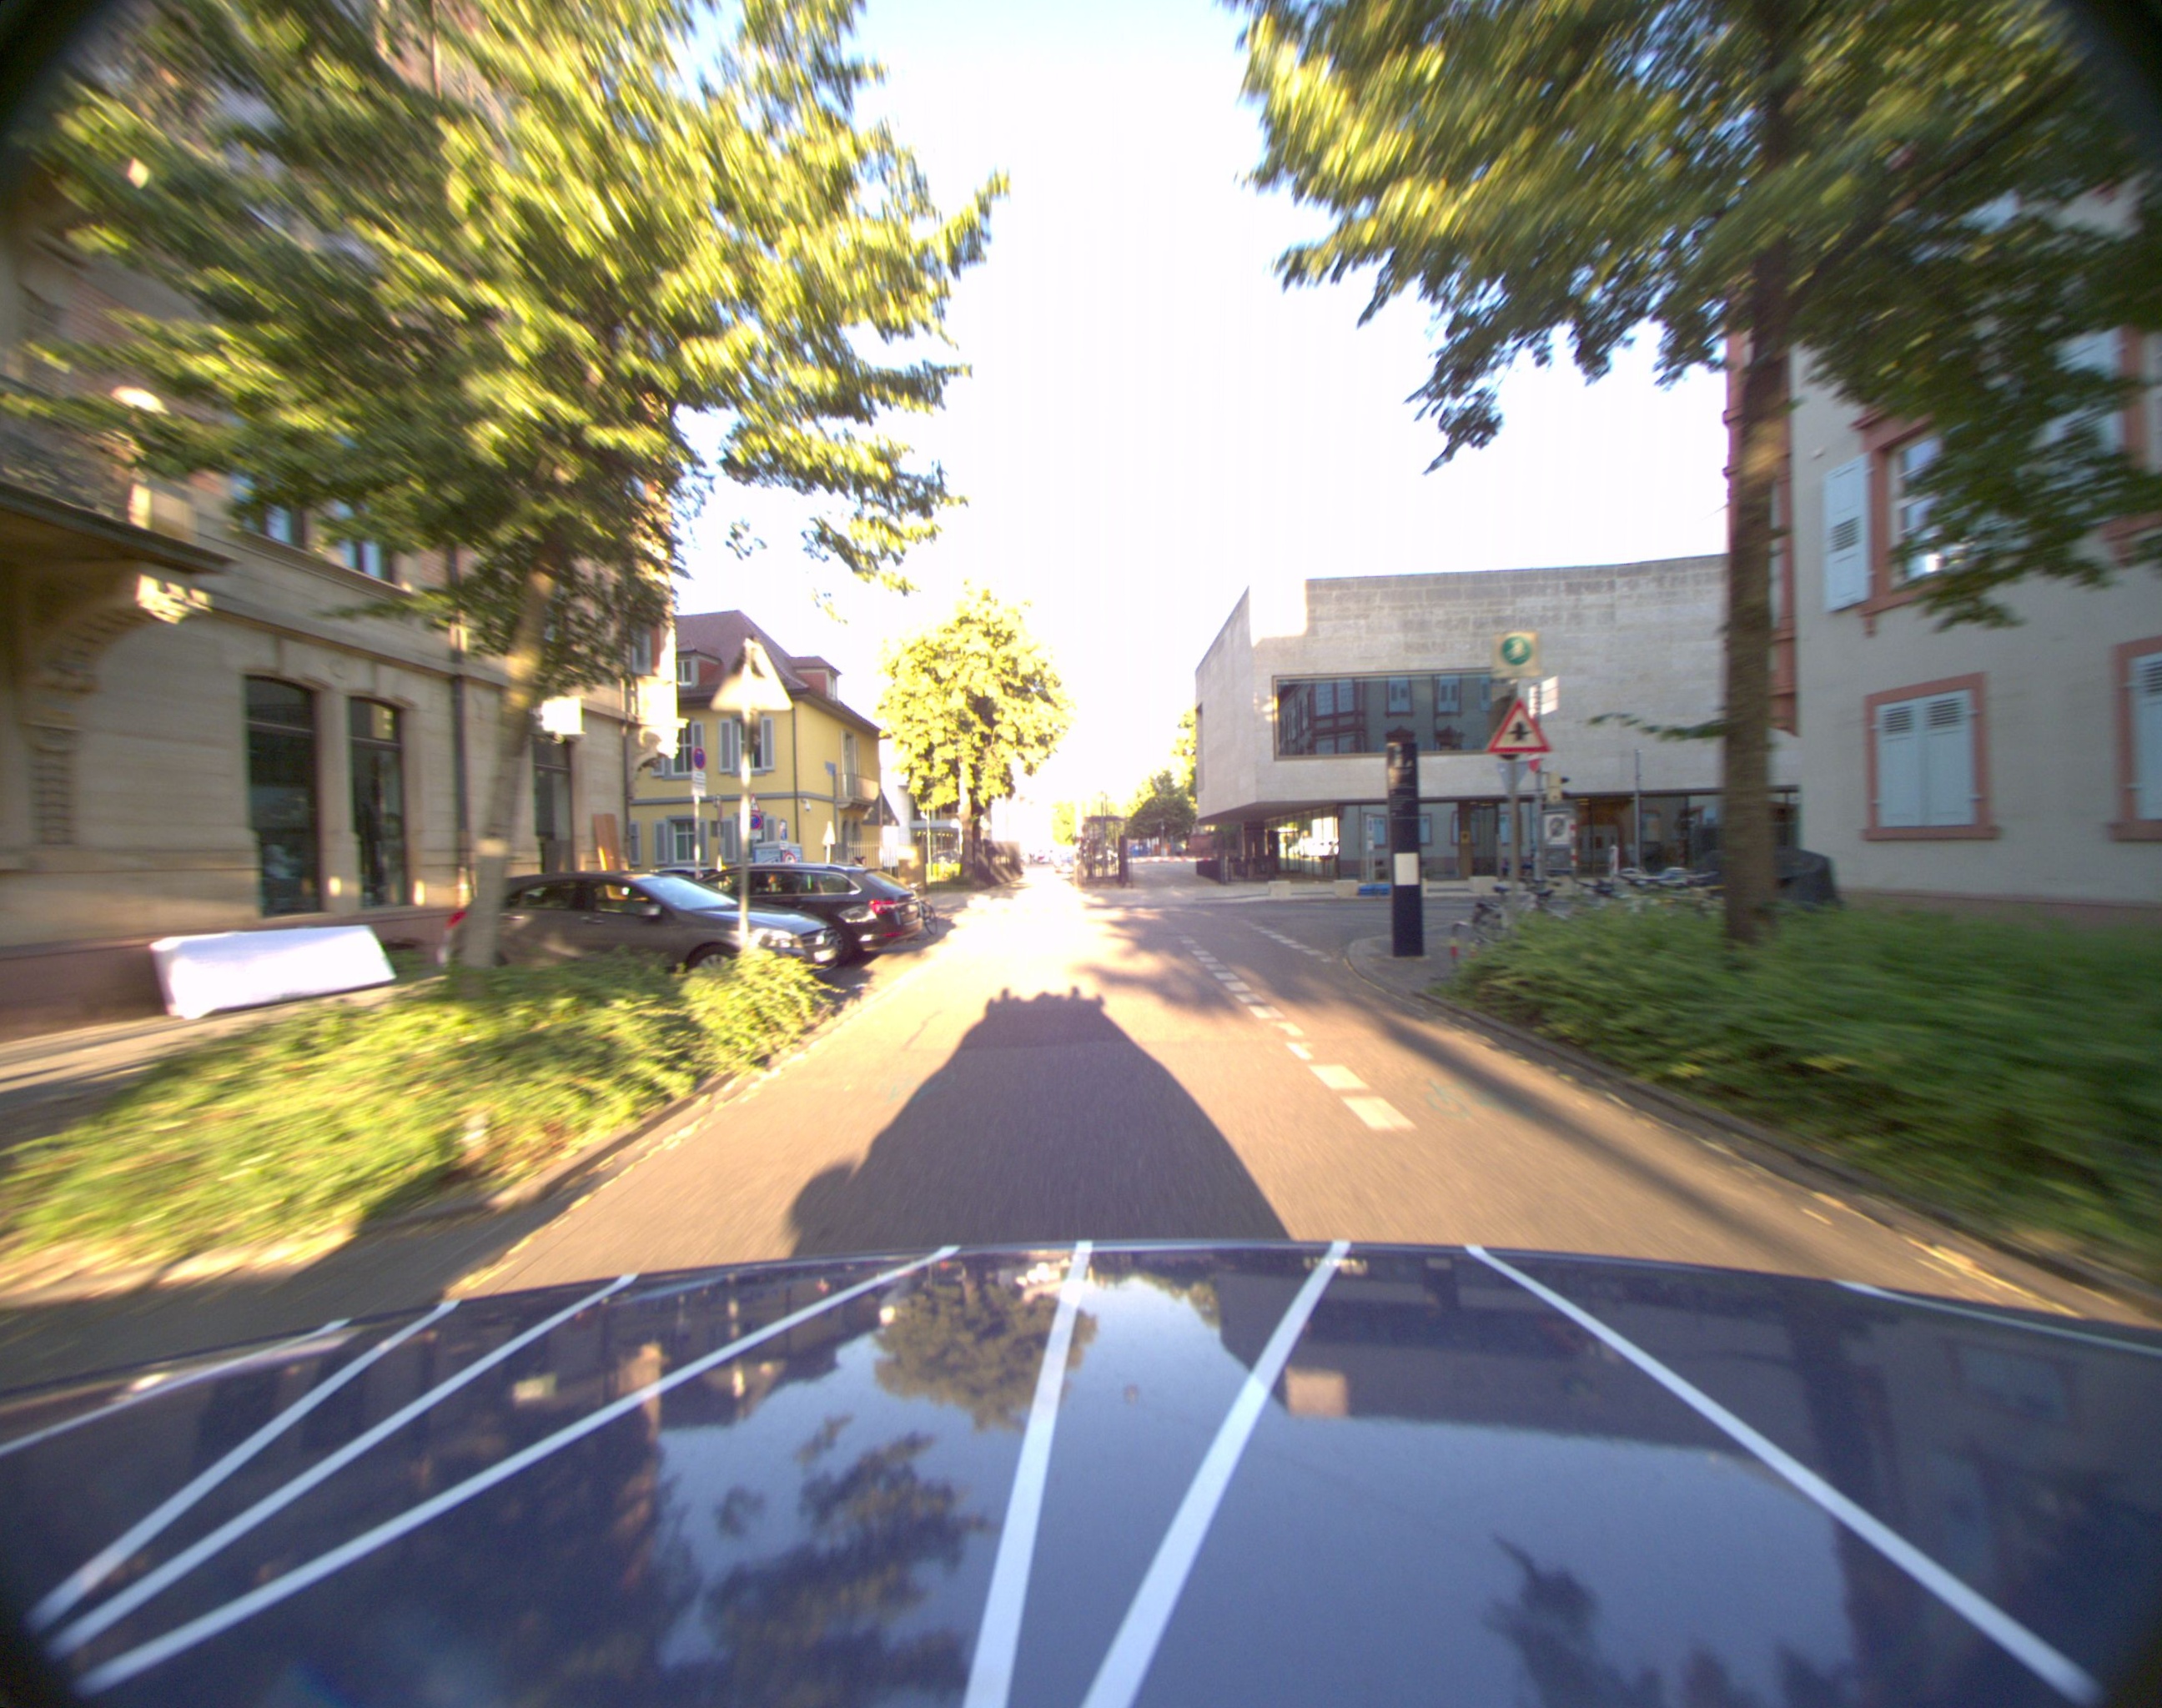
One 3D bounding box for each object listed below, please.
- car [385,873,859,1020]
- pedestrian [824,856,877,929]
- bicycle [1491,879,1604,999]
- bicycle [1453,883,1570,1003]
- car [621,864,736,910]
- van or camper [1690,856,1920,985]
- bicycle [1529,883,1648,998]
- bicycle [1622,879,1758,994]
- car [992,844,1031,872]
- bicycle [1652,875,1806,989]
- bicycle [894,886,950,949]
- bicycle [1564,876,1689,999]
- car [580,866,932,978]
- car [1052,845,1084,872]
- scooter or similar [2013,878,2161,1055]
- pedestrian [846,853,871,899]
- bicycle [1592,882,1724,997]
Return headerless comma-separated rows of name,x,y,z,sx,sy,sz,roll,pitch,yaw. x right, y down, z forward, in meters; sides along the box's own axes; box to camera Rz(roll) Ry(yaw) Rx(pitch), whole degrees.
car,-5.218,1.009,9.057,4.536,1.471,1.868,0,1,4
pedestrian,-5.407,0.876,17.814,0.962,1.649,0.638,-2,1,-41
bicycle,5.146,0.885,8.476,0.331,1.134,1.597,-3,1,4
bicycle,4.752,0.933,8.506,0.396,1.102,1.712,-3,1,4
car,-13.754,1.123,26.013,3.216,1.511,1.547,-1,-1,12
van or camper,8.079,0.683,8.629,0.943,1.252,1.846,-2,1,6
bicycle,5.607,0.904,8.489,0.319,1.075,1.597,-3,1,4
bicycle,6.719,0.866,8.472,0.323,1.076,1.596,-2,1,4
car,-4.560,0.212,50.562,1.707,1.727,4.065,1,1,7
bicycle,7.121,0.807,8.448,0.396,1.075,1.597,-3,1,4
bicycle,-3.012,1.177,14.558,0.571,1.041,1.832,-1,0,4
bicycle,5.989,0.866,8.430,0.312,1.142,1.612,-2,2,4
car,-4.749,0.975,11.605,4.537,1.502,1.911,0,1,1
car,-0.784,0.249,48.756,1.709,1.575,3.679,-2,1,4
scooter or similar,8.007,0.815,5.565,0.677,1.215,1.395,-1,1,2
pedestrian,-7.808,0.780,26.708,0.672,1.585,0.469,-1,1,14
bicycle,6.339,0.891,8.434,0.341,1.075,1.597,-1,1,4
